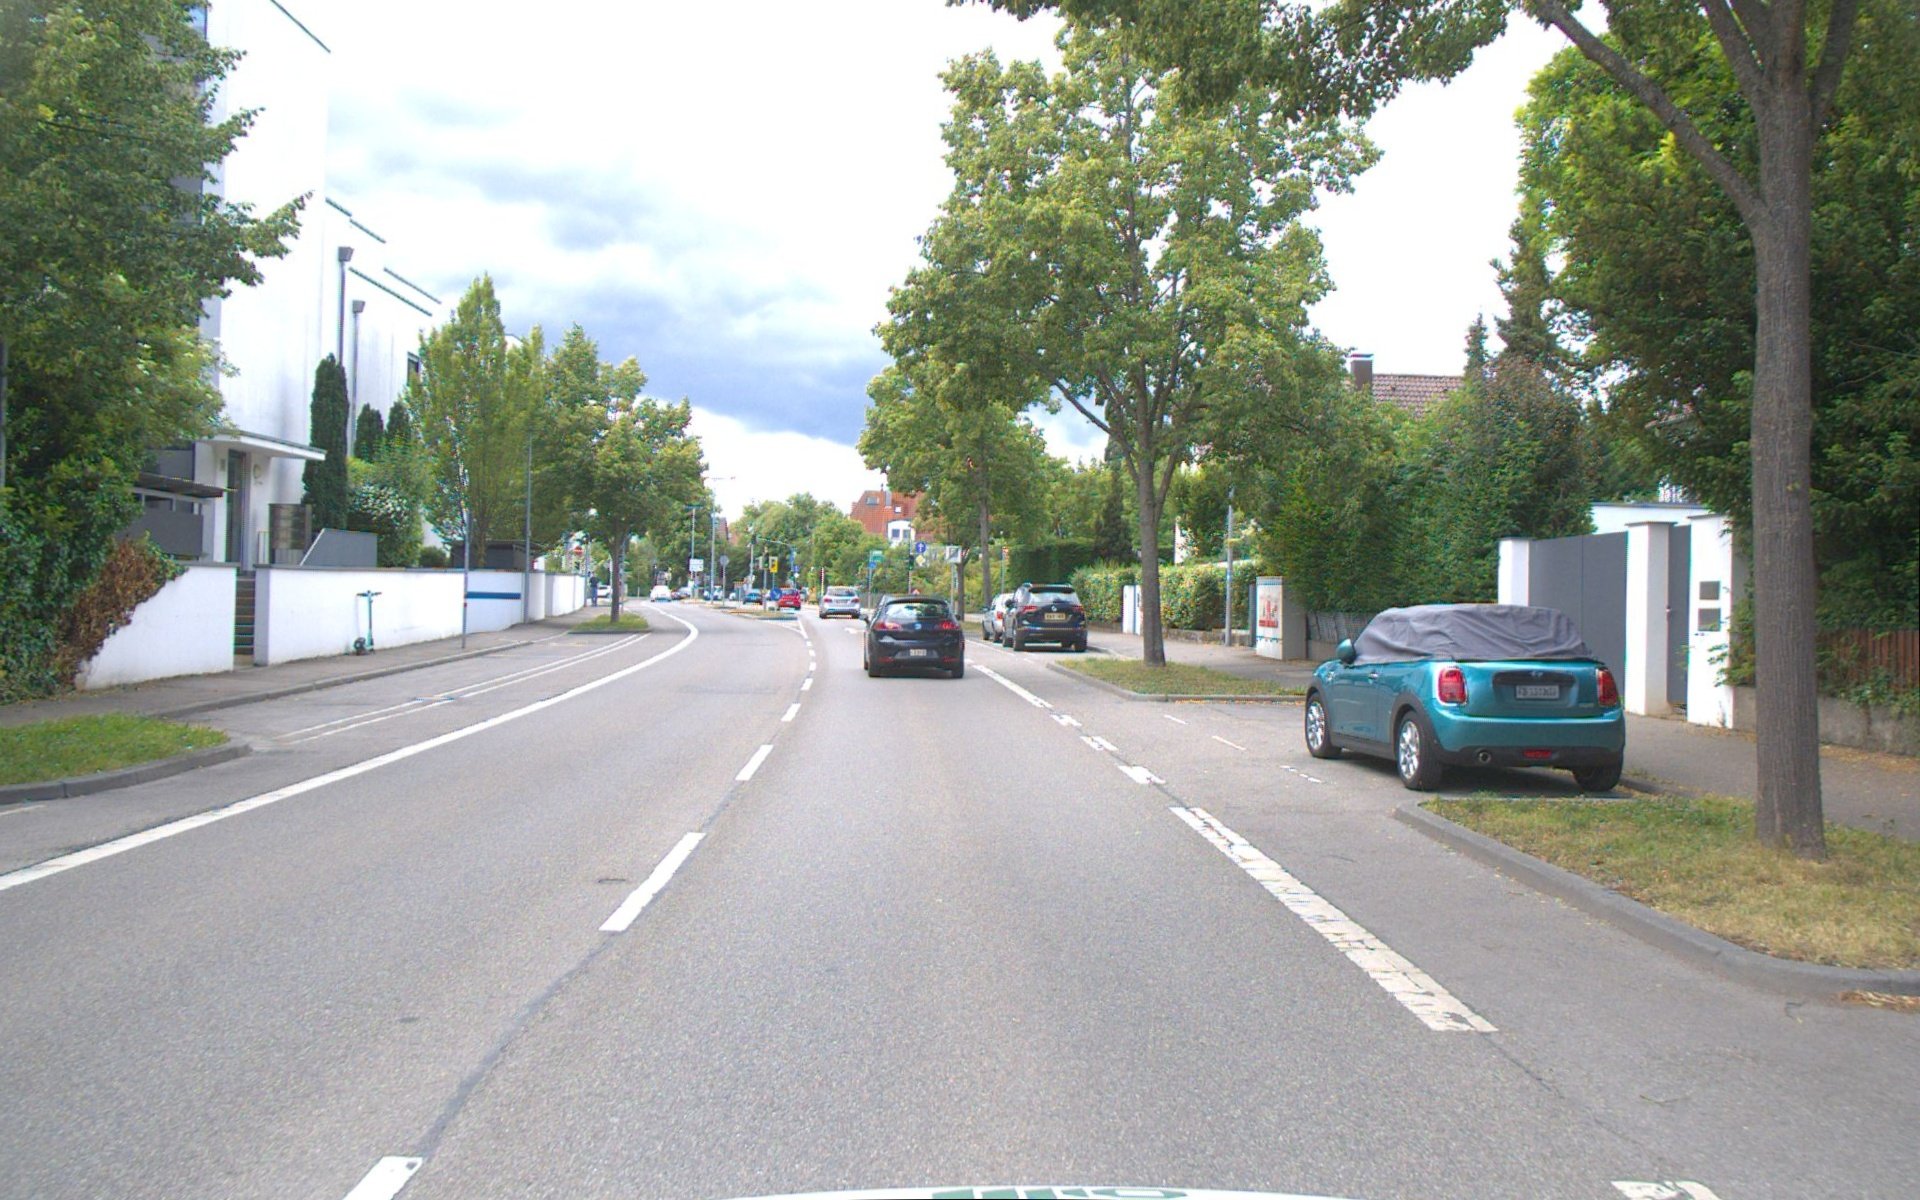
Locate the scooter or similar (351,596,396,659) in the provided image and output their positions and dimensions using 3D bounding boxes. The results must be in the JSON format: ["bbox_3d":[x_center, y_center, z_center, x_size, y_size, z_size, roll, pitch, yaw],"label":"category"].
[{"bbox_3d":[-11.306,0.520,31.897,0.492,1.174,1.300,1,0,-5],"label":"scooter or similar"}]

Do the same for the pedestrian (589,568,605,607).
[{"bbox_3d":[-19.723,-0.677,89.797,0.738,2.090,0.723,1,-1,-9],"label":"pedestrian"}]

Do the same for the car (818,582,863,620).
[{"bbox_3d":[-5.637,0.024,77.641,1.955,1.584,3.996,-1,3,-6],"label":"car"}]

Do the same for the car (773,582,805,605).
[{"bbox_3d":[-11.895,-0.418,114.901,1.957,1.557,3.992,0,0,-9],"label":"car"}]

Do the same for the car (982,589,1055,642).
[{"bbox_3d":[1.655,0.424,48.036,1.653,1.474,3.575,1,0,-6],"label":"car"}]

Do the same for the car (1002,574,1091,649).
[{"bbox_3d":[2.137,0.287,41.913,1.753,1.803,3.979,1,0,-4],"label":"car"}]

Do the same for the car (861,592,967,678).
[{"bbox_3d":[-0.893,0.598,30.211,1.748,1.474,3.554,0,0,-5],"label":"car"}]

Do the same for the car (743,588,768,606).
[{"bbox_3d":[-18.410,-0.277,148.967,1.954,1.534,3.996,1,-1,-4],"label":"car"}]

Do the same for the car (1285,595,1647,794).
[{"bbox_3d":[4.178,0.700,14.353,1.650,1.457,4.041,0,0,-4],"label":"car"}]

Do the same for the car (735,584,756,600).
[{"bbox_3d":[-24.208,-0.899,186.763,1.934,1.705,3.875,1,0,-3],"label":"car"}]
